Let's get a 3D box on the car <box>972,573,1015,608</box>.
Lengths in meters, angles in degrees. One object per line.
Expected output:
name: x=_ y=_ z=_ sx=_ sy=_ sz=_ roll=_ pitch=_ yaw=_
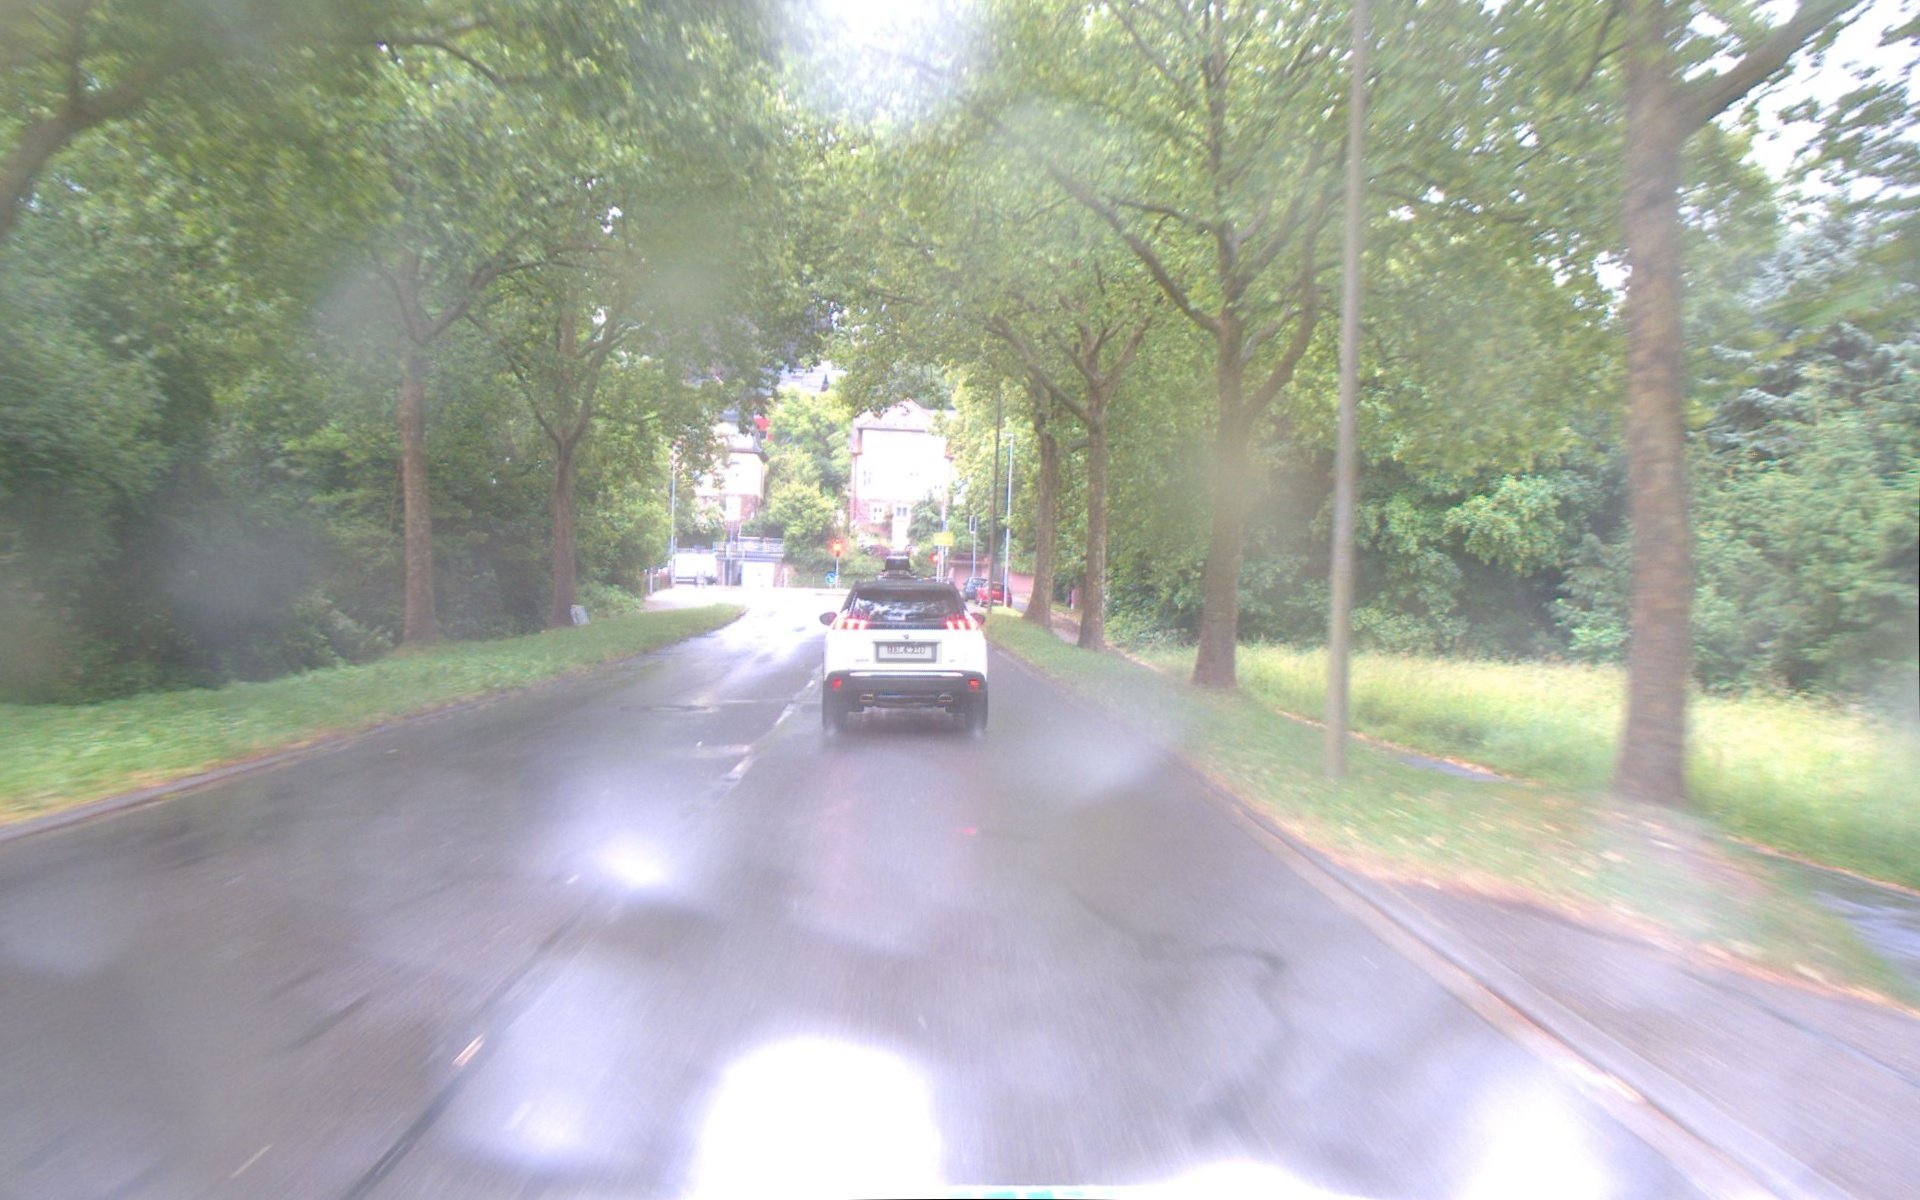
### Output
car: x=1.851 y=-0.539 z=91.888 sx=1.786 sy=1.542 sz=3.740 roll=9 pitch=2 yaw=-6

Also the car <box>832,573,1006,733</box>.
car: x=-0.534 y=0.492 z=18.618 sx=1.718 sy=1.562 sz=4.365 roll=1 pitch=1 yaw=-3

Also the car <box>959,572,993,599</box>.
car: x=0.949 y=-0.881 z=101.549 sx=1.715 sy=1.517 sz=3.597 roll=4 pitch=1 yaw=-4

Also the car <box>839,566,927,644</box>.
car: x=-1.752 y=0.061 z=37.764 sx=1.795 sy=1.481 sz=4.657 roll=4 pitch=2 yaw=-3

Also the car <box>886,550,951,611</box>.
car: x=-1.370 y=-0.672 z=52.553 sx=1.726 sy=1.740 sz=4.597 roll=3 pitch=2 yaw=-5

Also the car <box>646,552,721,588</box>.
car: x=-22.139 y=-2.398 z=132.697 sx=5.547 sy=2.537 sz=2.315 roll=3 pitch=0 yaw=-2
